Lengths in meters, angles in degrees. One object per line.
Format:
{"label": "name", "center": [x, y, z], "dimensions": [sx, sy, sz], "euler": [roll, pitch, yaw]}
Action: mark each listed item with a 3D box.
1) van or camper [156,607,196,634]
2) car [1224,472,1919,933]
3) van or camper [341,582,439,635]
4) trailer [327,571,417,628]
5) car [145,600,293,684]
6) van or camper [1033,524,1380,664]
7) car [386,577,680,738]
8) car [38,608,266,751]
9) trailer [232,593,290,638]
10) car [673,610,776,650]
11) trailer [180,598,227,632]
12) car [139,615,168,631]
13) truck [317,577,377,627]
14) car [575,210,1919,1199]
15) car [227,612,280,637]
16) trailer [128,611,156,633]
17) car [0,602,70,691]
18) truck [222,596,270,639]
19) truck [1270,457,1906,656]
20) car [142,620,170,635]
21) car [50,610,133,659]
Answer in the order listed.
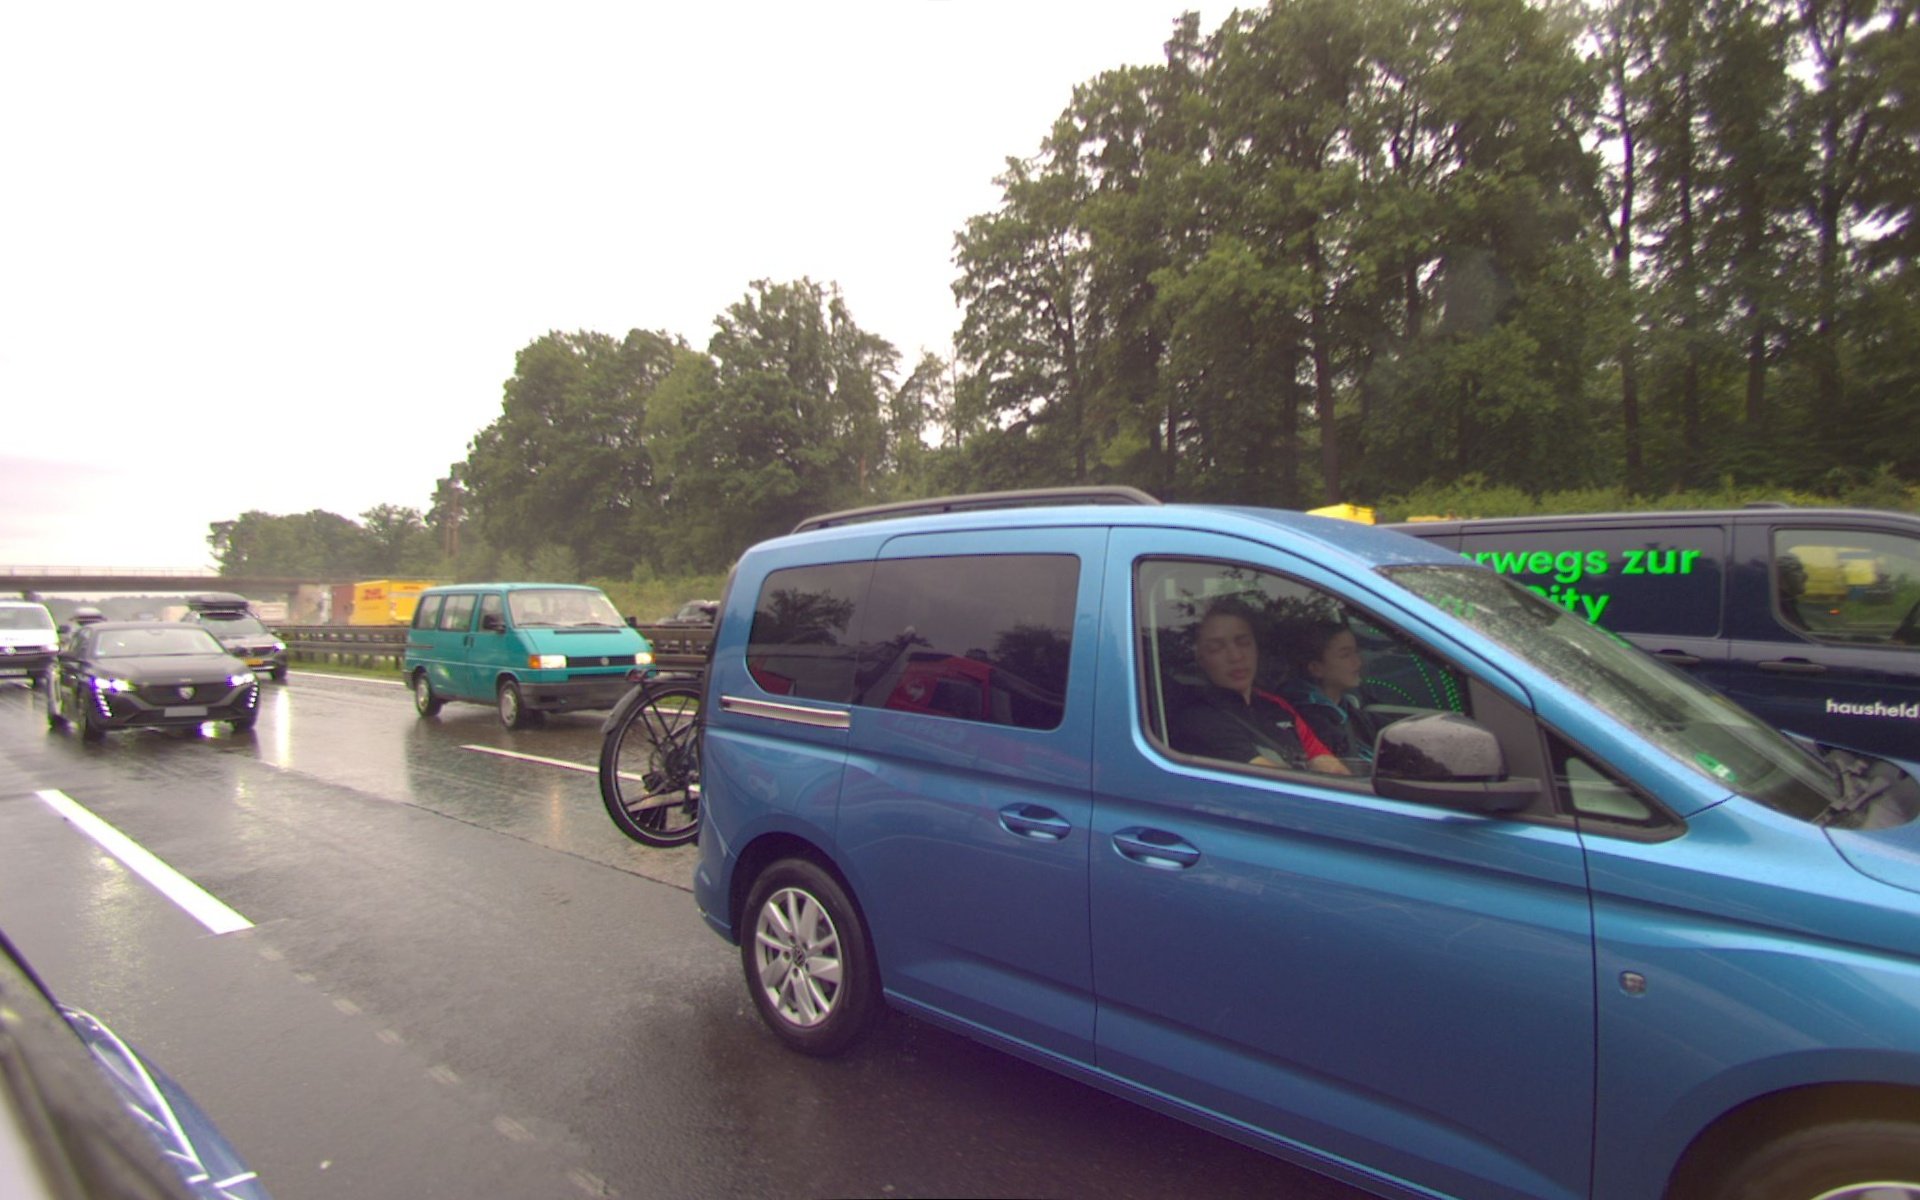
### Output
{"label": "van or camper", "center": [-69.999, 1.839, 90.312], "dimensions": [4.874, 2.268, 2.204], "euler": [-1, 0, 44]}
{"label": "car", "center": [4.290, 0.436, 5.412], "dimensions": [5.240, 1.958, 1.971], "euler": [-1, 0, 41]}
{"label": "van or camper", "center": [-34.644, 0.526, 61.321], "dimensions": [8.789, 3.001, 2.810], "euler": [-1, -1, 44]}
{"label": "trailer", "center": [-45.061, 0.044, 77.279], "dimensions": [12.375, 4.056, 2.590], "euler": [-1, 0, 44]}
{"label": "car", "center": [-18.109, 0.974, 24.660], "dimensions": [4.604, 1.839, 1.956], "euler": [-1, 0, 41]}
{"label": "van or camper", "center": [5.619, -0.059, 24.352], "dimensions": [7.998, 2.892, 2.143], "euler": [-1, -1, 41]}
{"label": "car", "center": [-6.091, 0.703, 14.147], "dimensions": [4.757, 1.877, 1.890], "euler": [-1, 0, 41]}
{"label": "car", "center": [-10.872, 0.909, 13.494], "dimensions": [4.468, 1.516, 1.825], "euler": [-1, 1, 45]}
{"label": "trailer", "center": [-64.769, 1.501, 93.710], "dimensions": [9.420, 3.984, 2.352], "euler": [-1, -2, 42]}
{"label": "car", "center": [-8.608, 1.098, 36.843], "dimensions": [4.001, 1.355, 1.782], "euler": [-2, -1, 44]}
{"label": "trailer", "center": [-92.661, 1.850, 123.857], "dimensions": [2.688, 3.984, 13.968], "euler": [2, -2, -45]}
{"label": "car", "center": [-100.200, 2.859, 125.700], "dimensions": [5.220, 1.839, 1.956], "euler": [-1, 0, 41]}
{"label": "truck", "center": [-49.331, 0.226, 81.345], "dimensions": [6.266, 3.847, 2.673], "euler": [-2, -1, 44]}
{"label": "car", "center": [1.089, 0.406, 3.299], "dimensions": [5.012, 1.926, 2.246], "euler": [-2, -1, 40]}
{"label": "car", "center": [-40.598, 1.442, 58.130], "dimensions": [4.001, 1.355, 1.782], "euler": [-2, -1, 44]}
{"label": "trailer", "center": [-153.082, 4.158, 189.353], "dimensions": [2.989, 3.847, 13.572], "euler": [0, -1, -43]}
{"label": "car", "center": [-22.154, 1.063, 23.432], "dimensions": [4.769, 1.894, 1.967], "euler": [-2, -1, 44]}
{"label": "truck", "center": [-68.332, 1.694, 96.820], "dimensions": [6.535, 3.984, 2.352], "euler": [-1, -2, 42]}
{"label": "truck", "center": [13.065, -0.667, 22.675], "dimensions": [11.715, 3.510, 2.493], "euler": [-1, -1, 42]}
{"label": "car", "center": [-100.443, 3.425, 126.454], "dimensions": [5.038, 1.783, 1.972], "euler": [-2, -2, 42]}
{"label": "car", "center": [-34.749, 1.343, 40.444], "dimensions": [4.605, 1.839, 1.956], "euler": [-1, 0, 42]}
